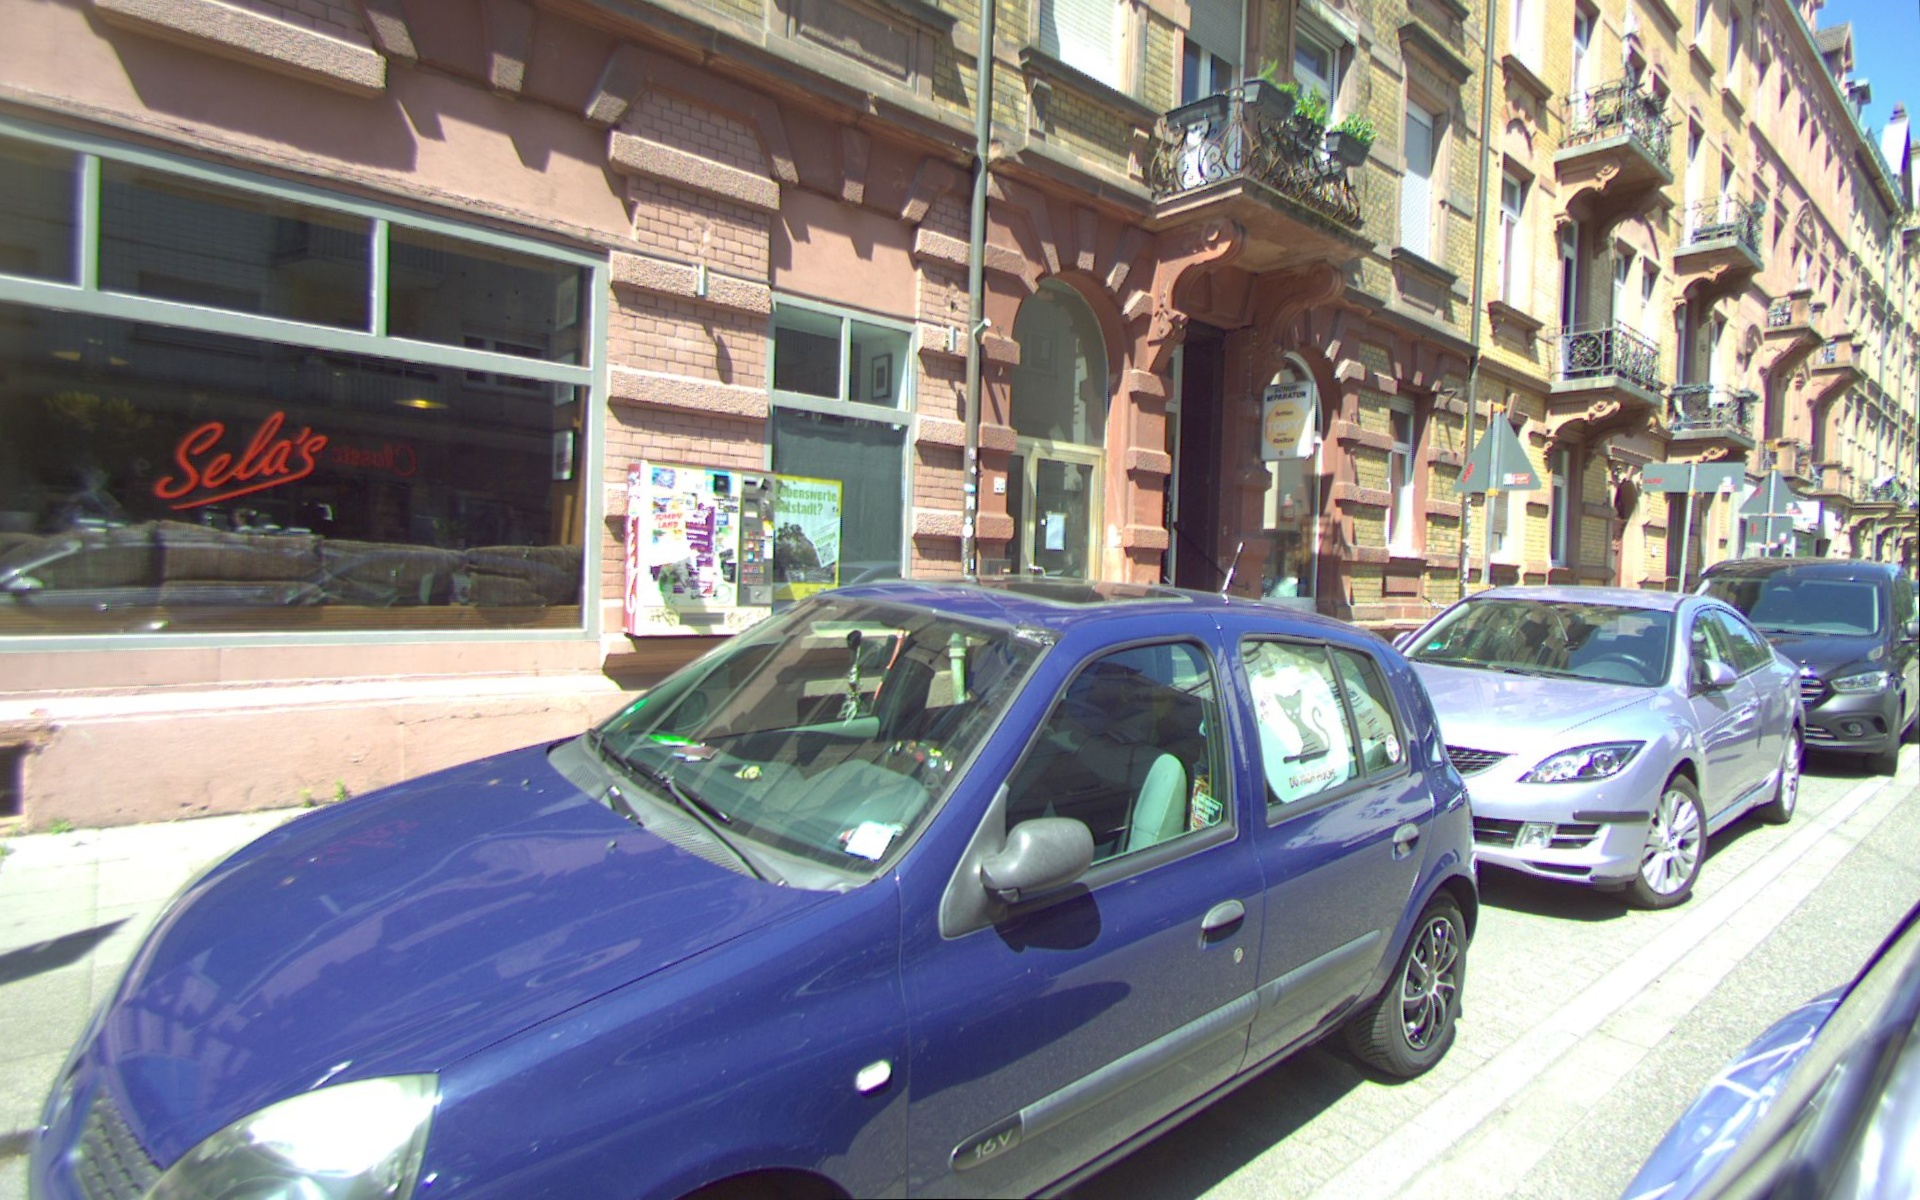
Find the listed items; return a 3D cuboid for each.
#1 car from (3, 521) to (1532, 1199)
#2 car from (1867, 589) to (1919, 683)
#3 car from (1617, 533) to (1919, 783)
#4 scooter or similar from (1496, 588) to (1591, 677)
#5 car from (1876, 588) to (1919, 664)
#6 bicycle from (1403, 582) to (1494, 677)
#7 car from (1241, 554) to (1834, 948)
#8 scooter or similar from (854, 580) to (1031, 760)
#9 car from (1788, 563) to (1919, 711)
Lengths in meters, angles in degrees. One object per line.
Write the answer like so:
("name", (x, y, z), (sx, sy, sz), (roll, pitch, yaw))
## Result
("car", (-0.038, 0.608, 2.693), (3.598, 1.449, 1.630), (0, 4, -43))
("car", (16.514, 0.565, 17.015), (1.761, 1.467, 3.844), (2, 2, 43))
("car", (7.876, 0.373, 9.460), (4.264, 1.788, 1.828), (0, 4, -43))
("scooter or similar", (8.326, 0.435, 14.395), (2.112, 1.167, 0.477), (0, 2, -41))
("car", (20.650, 0.519, 21.216), (3.933, 1.479, 1.827), (0, 2, -43))
("bicycle", (6.212, 0.352, 12.825), (1.725, 1.117, 0.354), (0, 2, -41))
("car", (3.650, 0.539, 5.972), (4.409, 1.449, 1.728), (0, 4, -43))
("scooter or similar", (-0.106, 0.468, 7.160), (1.246, 1.191, 0.294), (1, 1, -31))
("car", (12.612, 0.424, 13.545), (3.930, 1.755, 1.705), (0, 1, -41))
